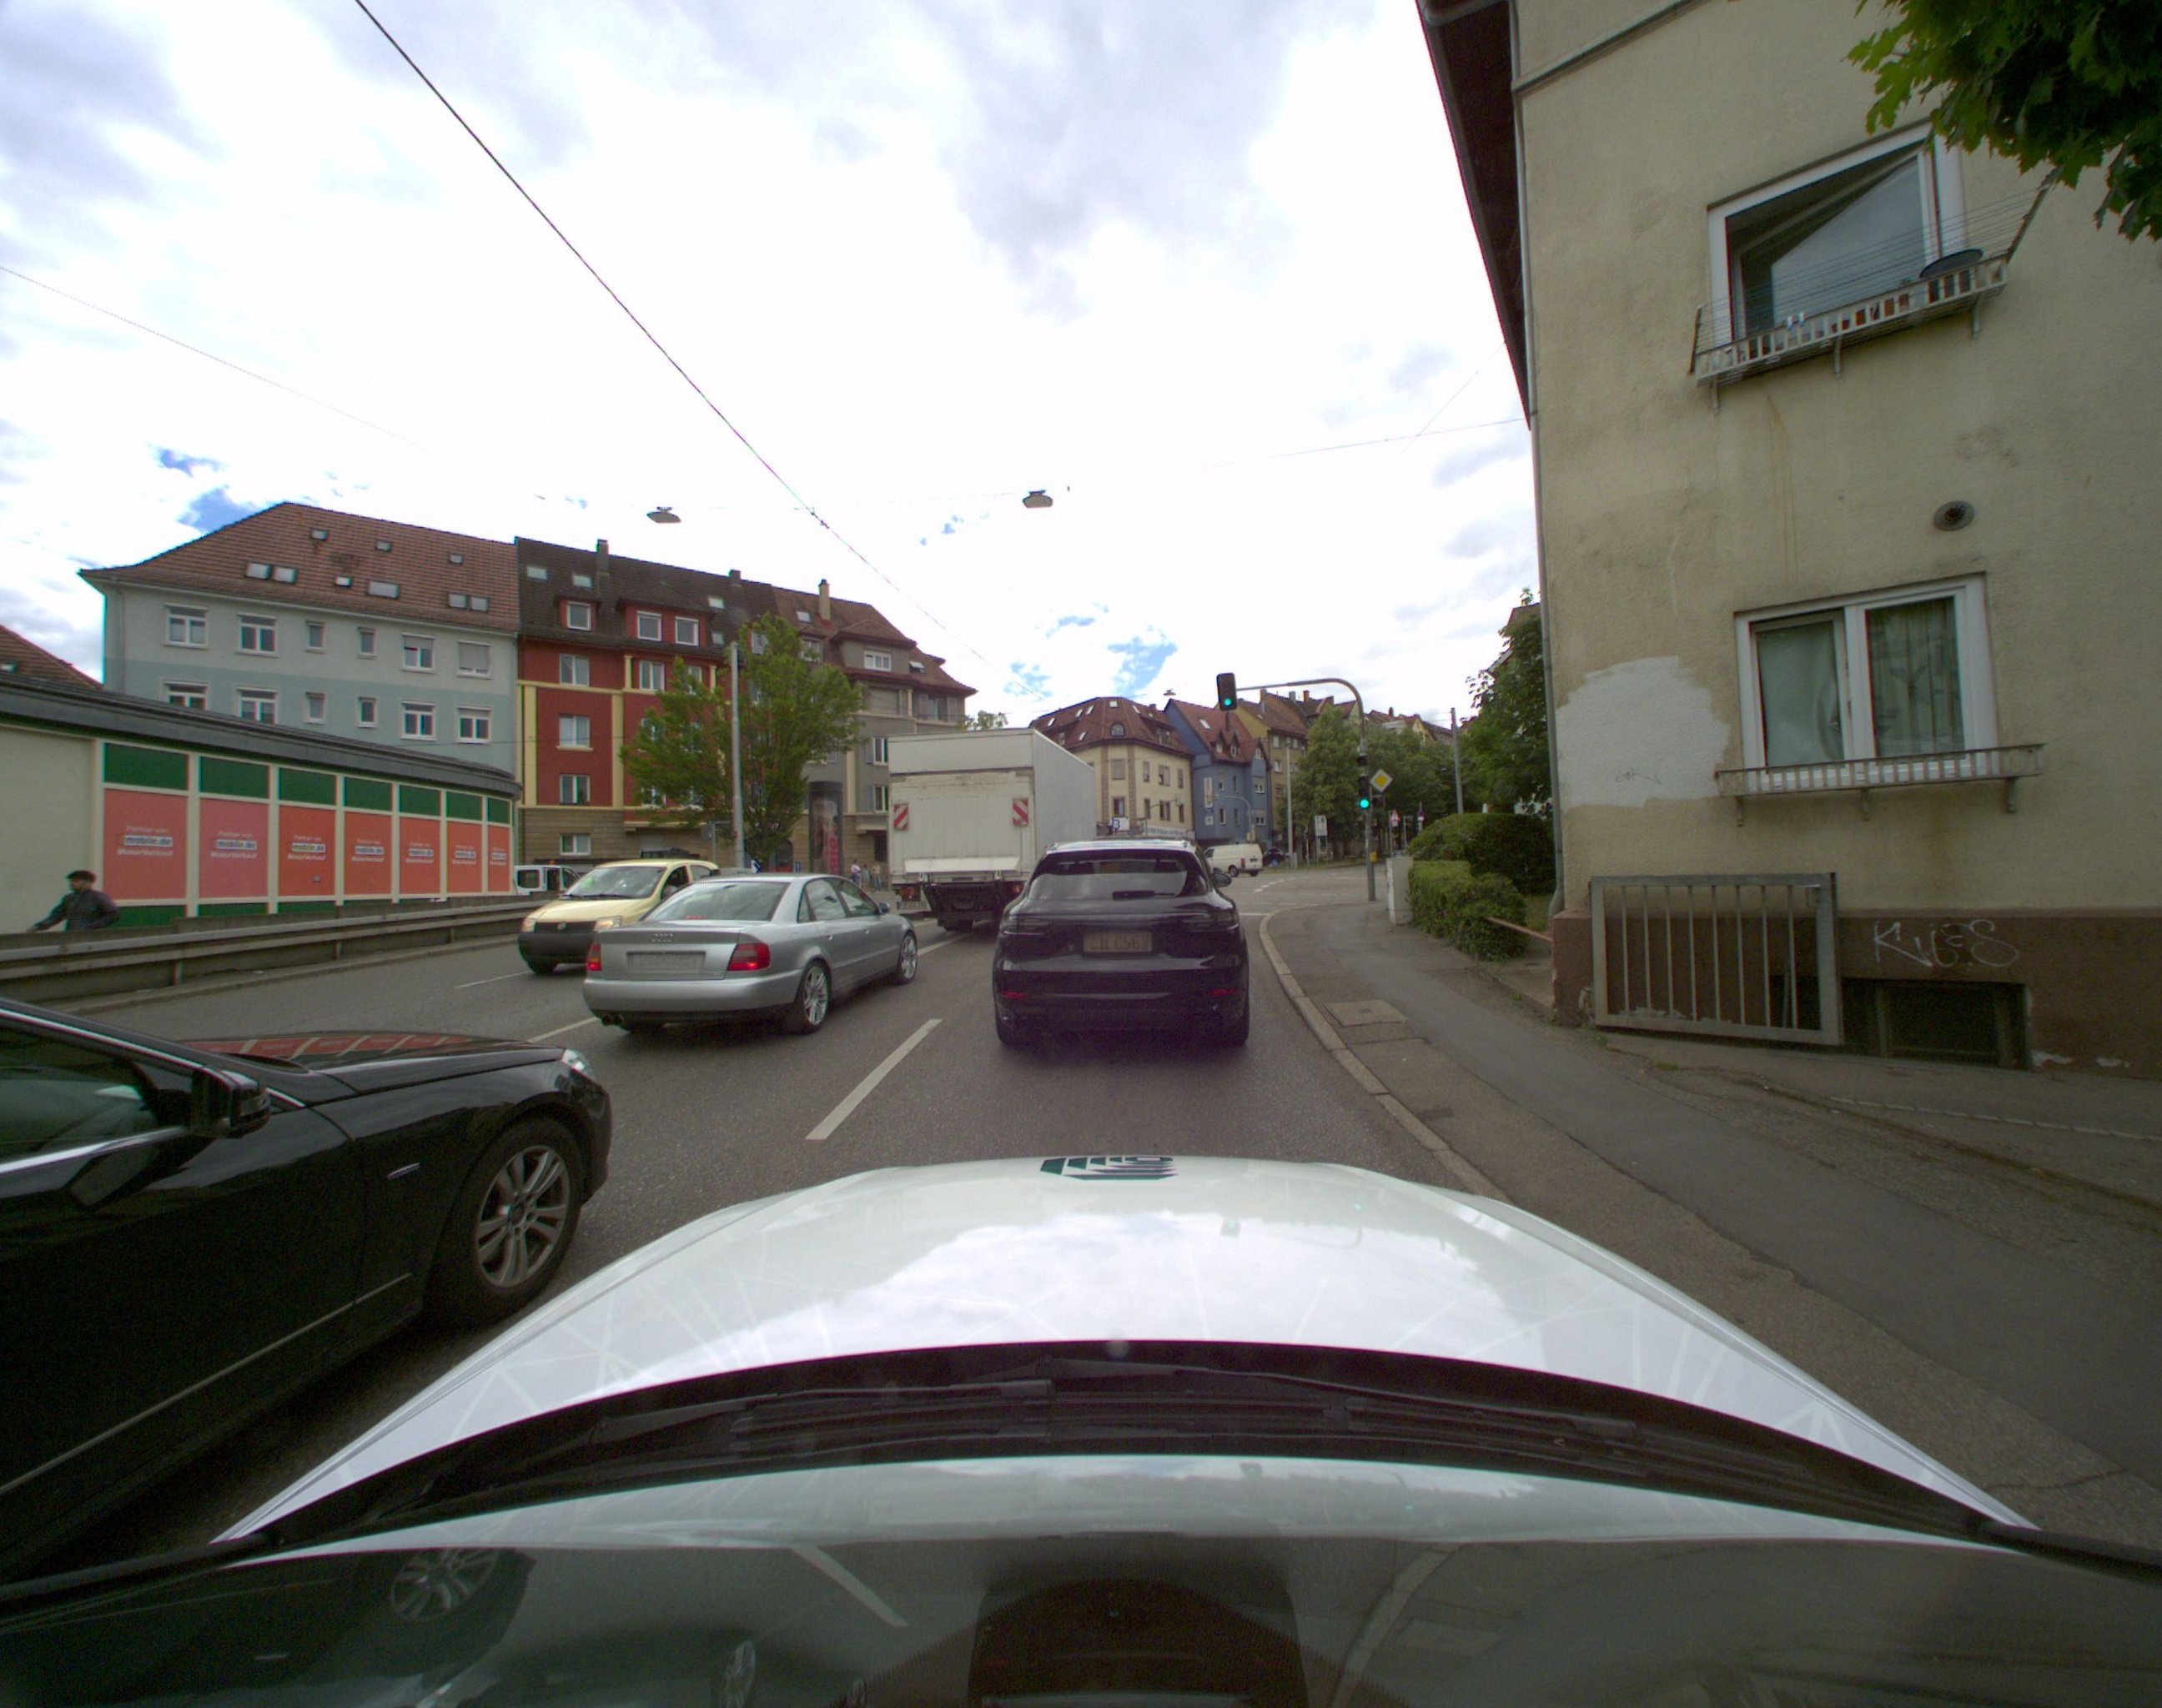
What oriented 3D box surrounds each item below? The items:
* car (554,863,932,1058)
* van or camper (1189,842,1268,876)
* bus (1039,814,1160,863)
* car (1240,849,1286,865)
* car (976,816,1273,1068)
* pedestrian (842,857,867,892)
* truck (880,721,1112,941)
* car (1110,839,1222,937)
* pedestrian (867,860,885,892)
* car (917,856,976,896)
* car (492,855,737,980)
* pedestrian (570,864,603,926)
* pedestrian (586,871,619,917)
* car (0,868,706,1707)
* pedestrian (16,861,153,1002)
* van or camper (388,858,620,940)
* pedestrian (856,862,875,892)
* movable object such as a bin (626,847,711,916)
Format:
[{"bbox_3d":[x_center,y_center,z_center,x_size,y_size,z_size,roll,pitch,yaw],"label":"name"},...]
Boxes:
[{"bbox_3d":[-2.944,0.840,8.191,1.620,1.365,4.136,-2,0,7],"label":"car"},{"bbox_3d":[9.056,0.298,50.446,2.008,2.014,4.778,0,-1,-35],"label":"van or camper"},{"bbox_3d":[1.094,-1.084,62.968,3.179,3.096,12.026,-2,-1,-32],"label":"bus"},{"bbox_3d":[17.066,0.284,76.097,4.725,1.416,1.853,0,-2,-44],"label":"car"},{"bbox_3d":[0.372,0.592,7.842,2.024,1.723,4.502,0,0,2],"label":"car"},{"bbox_3d":[-10.197,0.930,36.705,0.785,1.546,0.743,-1,0,29],"label":"pedestrian"},{"bbox_3d":[-1.274,-0.382,17.530,2.708,3.544,8.445,0,0,10],"label":"truck"},{"bbox_3d":[1.662,0.560,14.877,1.638,1.556,3.595,-1,-1,12],"label":"car"},{"bbox_3d":[-9.566,1.026,37.988,0.517,1.487,0.657,-1,0,27],"label":"pedestrian"},{"bbox_3d":[-5.206,0.830,31.902,1.591,1.447,3.532,-1,0,2],"label":"car"},{"bbox_3d":[-6.691,0.823,12.131,1.593,1.517,3.459,-3,0,0],"label":"car"},{"bbox_3d":[-16.354,1.339,26.931,0.830,2.013,0.672,-1,0,-37],"label":"pedestrian"},{"bbox_3d":[-14.711,1.229,25.037,0.594,1.363,0.630,-2,0,35],"label":"pedestrian"},{"bbox_3d":[-2.853,0.803,1.442,1.986,1.429,4.844,-1,0,2],"label":"car"},{"bbox_3d":[-12.233,0.922,10.024,0.686,1.637,0.778,-1,0,-2],"label":"pedestrian"},{"bbox_3d":[-18.986,1.387,27.255,6.028,2.338,2.661,-1,0,-33],"label":"van or camper"},{"bbox_3d":[-9.896,1.067,37.421,0.569,1.338,0.588,-2,0,30],"label":"pedestrian"},{"bbox_3d":[-13.145,0.843,26.146,1.375,2.013,3.524,-2,0,-10],"label":"movable object such as a bin"}]
